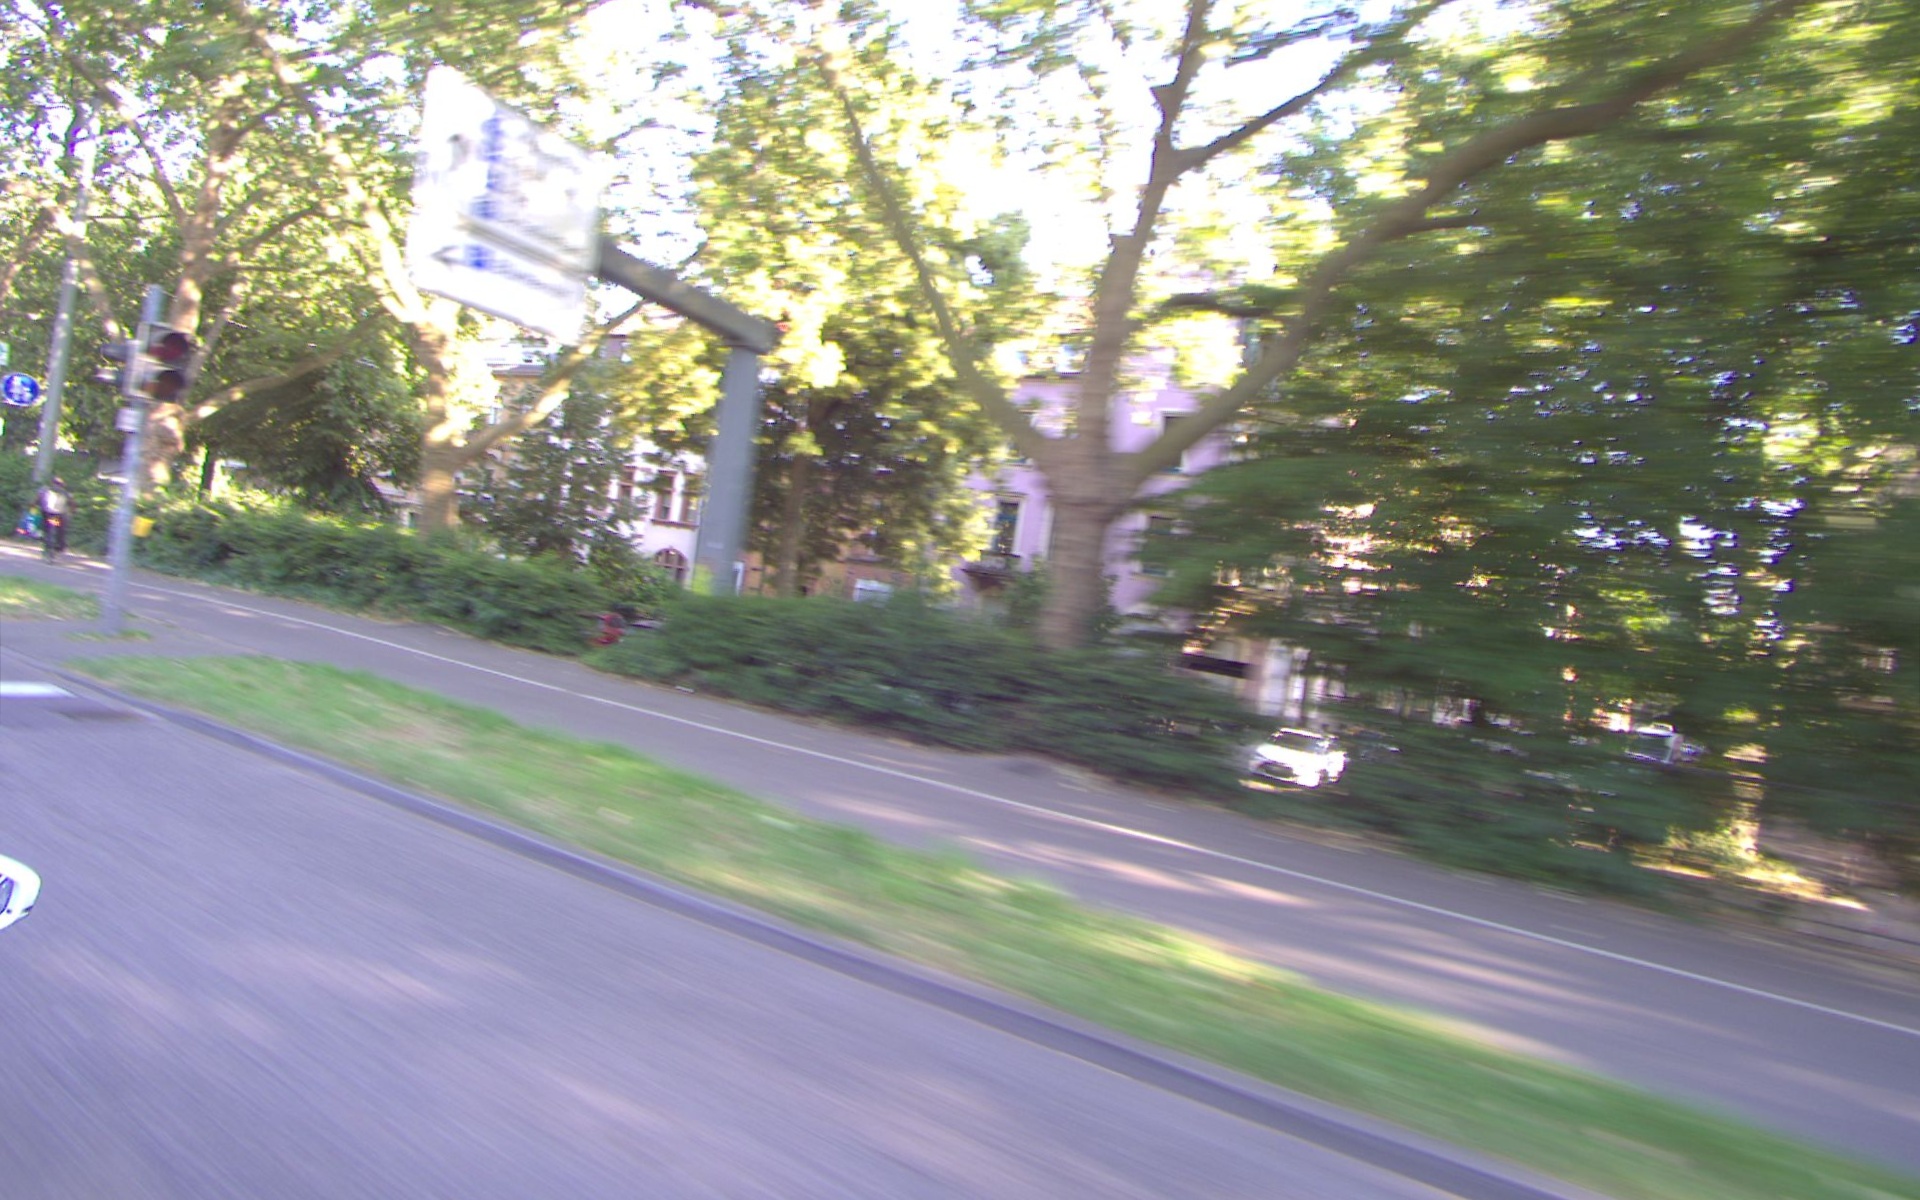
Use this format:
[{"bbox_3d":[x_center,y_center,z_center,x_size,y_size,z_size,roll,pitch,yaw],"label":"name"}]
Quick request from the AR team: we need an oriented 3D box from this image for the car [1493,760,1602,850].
[{"bbox_3d":[14.907,5.094,25.429,1.772,1.528,4.142,12,2,36],"label":"car"}]

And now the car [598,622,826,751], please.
[{"bbox_3d":[-4.935,1.672,19.913,4.030,1.833,1.908,8,-1,31],"label":"car"}]

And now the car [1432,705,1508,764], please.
[{"bbox_3d":[23.164,6.027,45.585,2.093,1.994,4.604,12,4,36],"label":"car"}]

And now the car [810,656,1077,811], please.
[{"bbox_3d":[-0.312,2.208,17.360,4.030,1.833,1.908,8,-1,31],"label":"car"}]

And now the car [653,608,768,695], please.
[{"bbox_3d":[-7.251,1.423,29.708,1.960,2.040,4.461,8,1,1],"label":"car"}]

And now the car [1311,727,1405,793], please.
[{"bbox_3d":[13.457,5.327,33.905,1.772,1.530,3.986,12,4,36],"label":"car"}]

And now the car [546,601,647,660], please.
[{"bbox_3d":[-11.957,0.962,33.339,1.767,1.529,3.997,8,1,-1],"label":"car"}]

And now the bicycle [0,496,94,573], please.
[{"bbox_3d":[-16.309,-1.160,17.886,1.770,1.121,0.767,8,1,31],"label":"bicycle"}]

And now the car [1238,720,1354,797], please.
[{"bbox_3d":[9.730,4.465,28.925,1.772,1.530,4.138,12,4,36],"label":"car"}]

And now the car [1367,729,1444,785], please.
[{"bbox_3d":[17.662,6.162,39.804,1.772,1.530,3.986,12,4,36],"label":"car"}]

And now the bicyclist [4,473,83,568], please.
[{"bbox_3d":[-16.284,-1.410,17.876,0.639,1.531,0.767,8,1,30],"label":"bicyclist"}]
